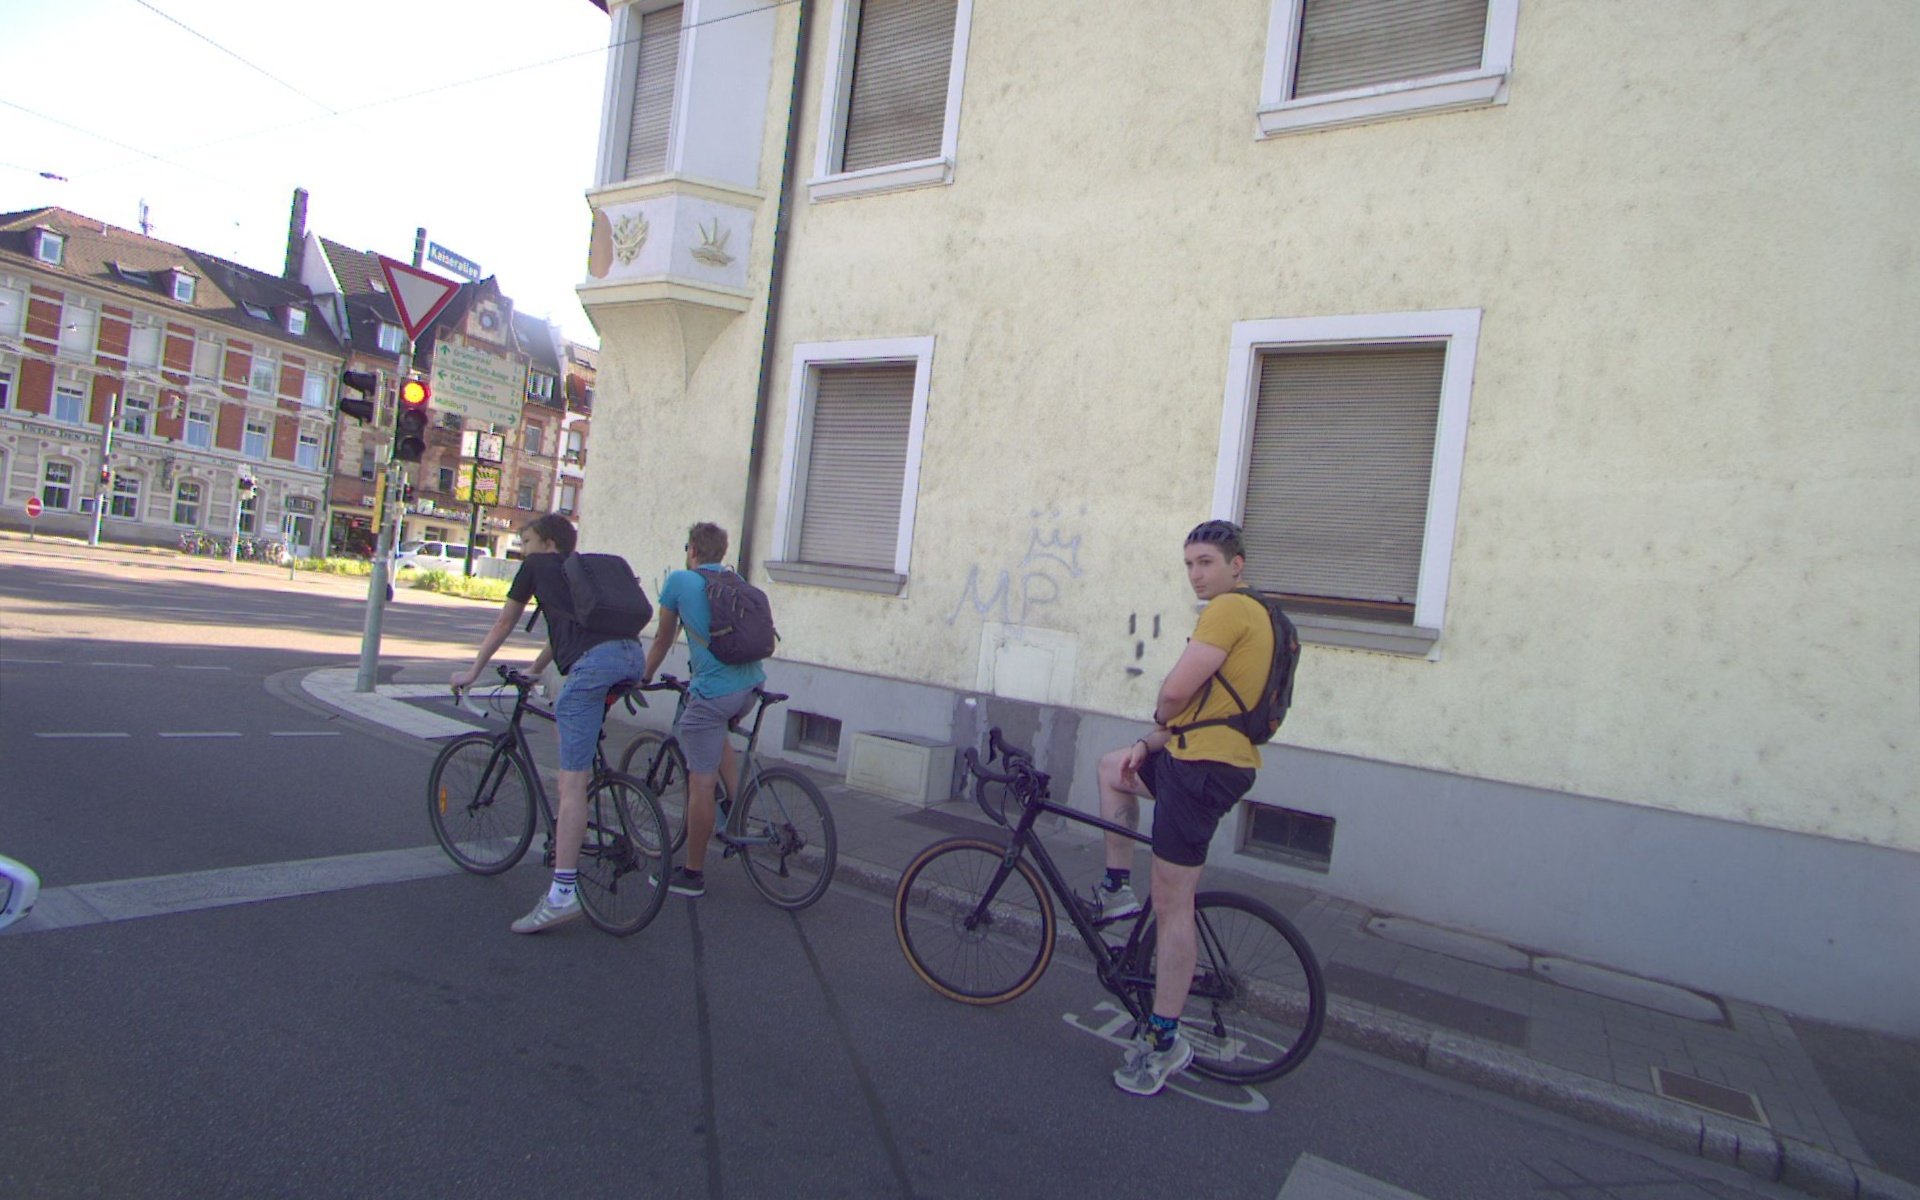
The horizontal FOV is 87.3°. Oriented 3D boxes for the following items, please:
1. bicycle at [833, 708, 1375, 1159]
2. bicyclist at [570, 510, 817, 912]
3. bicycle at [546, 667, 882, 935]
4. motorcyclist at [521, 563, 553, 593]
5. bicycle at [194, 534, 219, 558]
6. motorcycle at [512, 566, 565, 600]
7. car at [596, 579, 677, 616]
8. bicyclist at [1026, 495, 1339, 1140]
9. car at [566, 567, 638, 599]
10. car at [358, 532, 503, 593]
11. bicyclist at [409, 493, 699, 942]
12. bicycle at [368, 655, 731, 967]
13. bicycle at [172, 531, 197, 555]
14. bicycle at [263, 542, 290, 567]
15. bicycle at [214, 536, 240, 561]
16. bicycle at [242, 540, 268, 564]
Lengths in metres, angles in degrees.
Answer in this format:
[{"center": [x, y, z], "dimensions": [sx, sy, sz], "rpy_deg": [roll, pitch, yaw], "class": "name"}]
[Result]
[{"center": [0.532, 1.108, 3.771], "dimensions": [1.709, 1.119, 0.783], "rpy_deg": [7, -1, 18], "class": "bicycle"}, {"center": [-1.382, 0.524, 5.214], "dimensions": [0.960, 1.868, 0.504], "rpy_deg": [6, -1, 32], "class": "bicyclist"}, {"center": [-1.318, 0.964, 5.224], "dimensions": [1.753, 0.995, 0.504], "rpy_deg": [6, -1, 32], "class": "bicycle"}, {"center": [-20.415, -1.056, 48.531], "dimensions": [0.777, 1.315, 1.015], "rpy_deg": [6, -2, 36], "class": "motorcyclist"}, {"center": [-34.764, -2.508, 46.400], "dimensions": [0.762, 0.979, 2.186], "rpy_deg": [8, -2, -39], "class": "bicycle"}, {"center": [-20.362, -0.799, 48.642], "dimensions": [0.784, 1.349, 2.137], "rpy_deg": [6, -2, 36], "class": "motorcycle"}, {"center": [-17.036, -0.120, 53.140], "dimensions": [1.569, 1.443, 3.876], "rpy_deg": [7, -1, 32], "class": "car"}, {"center": [0.829, 0.703, 3.675], "dimensions": [0.763, 1.990, 0.783], "rpy_deg": [7, 0, 18], "class": "bicyclist"}, {"center": [-23.098, -1.088, 65.043], "dimensions": [1.842, 1.454, 3.985], "rpy_deg": [6, -2, 35], "class": "car"}, {"center": [-23.168, -1.602, 44.246], "dimensions": [1.968, 1.876, 5.205], "rpy_deg": [7, -1, 33], "class": "car"}, {"center": [-1.833, 0.474, 4.546], "dimensions": [0.920, 1.787, 0.590], "rpy_deg": [6, -1, 32], "class": "bicyclist"}, {"center": [-1.903, 0.863, 4.556], "dimensions": [1.753, 1.003, 0.482], "rpy_deg": [6, -1, 32], "class": "bicycle"}, {"center": [-35.366, -2.609, 45.875], "dimensions": [0.762, 0.974, 2.186], "rpy_deg": [8, -2, -39], "class": "bicycle"}, {"center": [-33.034, -2.205, 48.597], "dimensions": [0.789, 1.027, 2.186], "rpy_deg": [8, -2, -39], "class": "bicycle"}, {"center": [-34.268, -2.418, 47.022], "dimensions": [0.762, 0.995, 2.186], "rpy_deg": [8, -2, -39], "class": "bicycle"}, {"center": [-33.577, -2.303, 47.918], "dimensions": [0.762, 1.019, 2.196], "rpy_deg": [8, -2, -39], "class": "bicycle"}]
